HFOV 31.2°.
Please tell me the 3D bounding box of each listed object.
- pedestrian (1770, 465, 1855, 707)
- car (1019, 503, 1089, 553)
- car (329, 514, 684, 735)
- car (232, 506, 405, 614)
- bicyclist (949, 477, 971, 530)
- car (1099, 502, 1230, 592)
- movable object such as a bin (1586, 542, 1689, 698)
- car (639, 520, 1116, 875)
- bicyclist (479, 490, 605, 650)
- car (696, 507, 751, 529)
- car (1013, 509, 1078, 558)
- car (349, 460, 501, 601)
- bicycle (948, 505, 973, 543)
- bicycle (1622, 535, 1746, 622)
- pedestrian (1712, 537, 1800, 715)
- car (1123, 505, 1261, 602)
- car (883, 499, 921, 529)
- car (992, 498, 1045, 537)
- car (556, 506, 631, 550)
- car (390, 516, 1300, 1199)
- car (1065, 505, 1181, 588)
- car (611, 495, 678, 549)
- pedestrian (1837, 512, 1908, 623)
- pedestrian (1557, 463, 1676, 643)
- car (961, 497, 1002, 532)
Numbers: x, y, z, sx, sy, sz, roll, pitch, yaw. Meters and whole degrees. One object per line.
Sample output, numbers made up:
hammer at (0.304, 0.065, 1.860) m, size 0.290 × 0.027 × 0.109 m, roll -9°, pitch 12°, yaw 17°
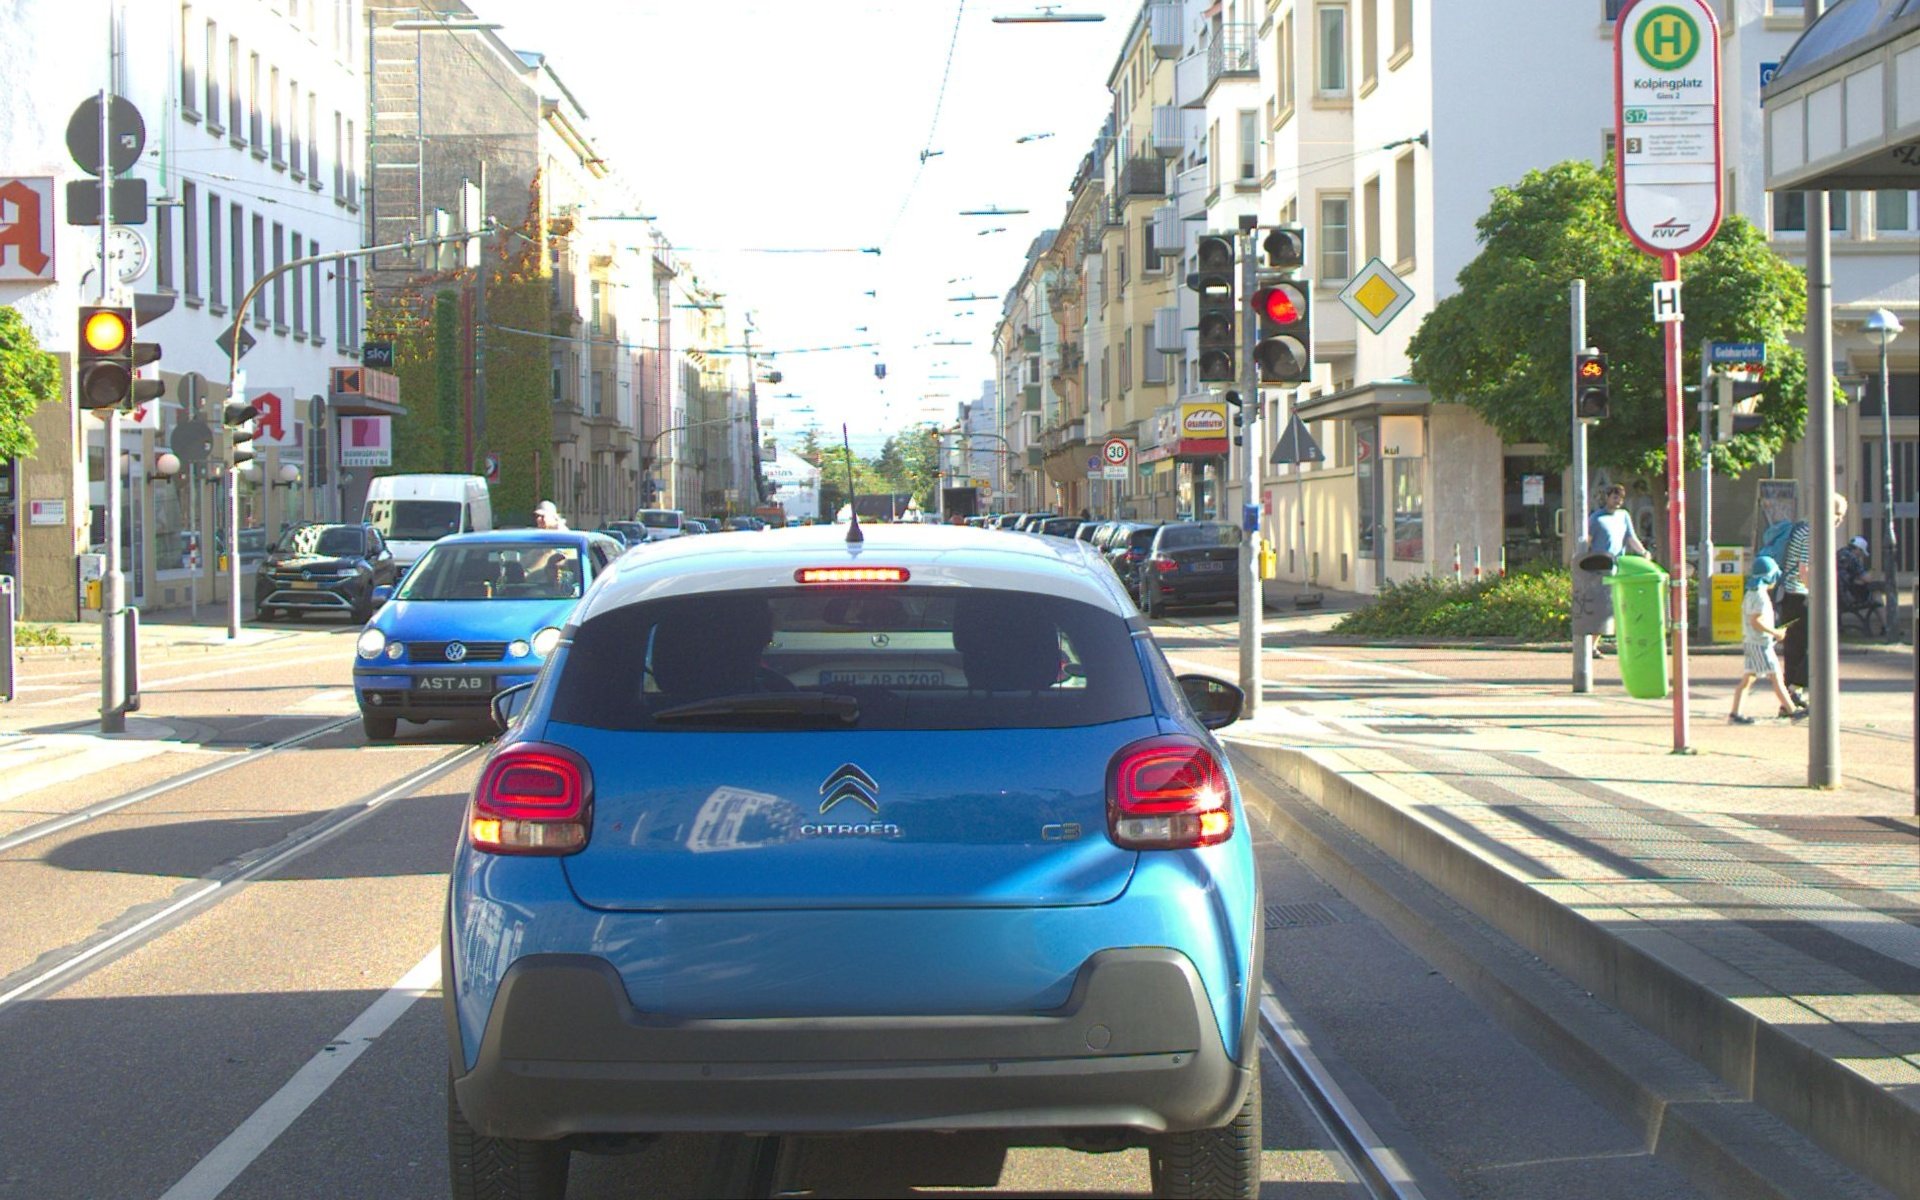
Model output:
pedestrian at (6.209, -0.105, 25.067) m, size 0.558 × 1.739 × 0.526 m, roll 0°, pitch 1°, yaw 10°
car at (2.825, -2.203, 104.298) m, size 1.993 × 1.459 × 4.505 m, roll -1°, pitch 1°, yaw 0°
car at (-3.234, 0.113, 25.262) m, size 1.667 × 1.482 × 3.999 m, roll 0°, pitch 2°, yaw 7°
car at (-10.143, -0.650, 54.657) m, size 1.993 × 1.563 × 4.403 m, roll 2°, pitch 1°, yaw -2°
bicyclist at (-0.008, -3.634, 129.533) m, size 0.809 × 2.007 × 0.922 m, roll 0°, pitch 1°, yaw -1°
car at (3.469, -0.932, 58.983) m, size 1.993 × 1.459 × 4.000 m, roll -1°, pitch 1°, yaw 0°
movable object such as a bin at (3.494, 0.097, 17.753) m, size 0.449 × 0.783 × 0.489 m, roll -1°, pitch 1°, yaw 2°
car at (-0.375, 0.350, 16.719) m, size 1.984 × 1.459 × 4.816 m, roll 0°, pitch 2°, yaw -1°
bicyclist at (-3.862, -0.284, 31.743) m, size 0.874 × 1.450 × 0.830 m, roll 0°, pitch 1°, yaw -34°
car at (-12.866, -4.463, 187.175) m, size 1.994 × 1.152 × 4.513 m, roll -1°, pitch 1°, yaw 9°
car at (2.766, -2.170, 111.974) m, size 1.993 × 1.546 × 4.000 m, roll -1°, pitch 1°, yaw 0°
car at (-10.049, -1.325, 65.006) m, size 2.085 × 2.533 × 6.206 m, roll 0°, pitch 1°, yaw -2°
bicycle at (0.023, -2.870, 129.326) m, size 0.920 × 1.384 × 3.132 m, roll -1°, pitch 2°, yaw 0°
bicycle at (9.434, -0.282, 44.834) m, size 1.568 × 1.116 × 0.300 m, roll 0°, pitch 1°, yaw 11°
pedestrian at (5.531, 0.172, 23.909) m, size 0.558 × 1.221 × 0.526 m, roll 0°, pitch 1°, yaw 10°
car at (3.651, -0.765, 54.597) m, size 1.909 × 1.459 × 4.000 m, roll -1°, pitch 1°, yaw 0°
car at (-3.484, -5.136, 204.899) m, size 1.993 × 1.772 × 4.001 m, roll -1°, pitch 2°, yaw -4°
car at (2.282, -3.247, 135.372) m, size 1.993 × 1.459 × 4.000 m, roll -1°, pitch 1°, yaw 0°
car at (-11.278, -2.213, 105.849) m, size 1.993 × 1.320 × 3.923 m, roll 0°, pitch 1°, yaw -2°
car at (-0.244, 0.540, 8.461) m, size 1.728 × 1.477 × 3.827 m, roll 0°, pitch 1°, yaw -1°
car at (3.059, -1.040, 65.152) m, size 1.993 × 1.495 × 4.000 m, roll -1°, pitch 1°, yaw 0°
car at (-11.823, -2.917, 129.178) m, size 2.006 × 2.007 × 4.689 m, roll 0°, pitch 1°, yaw 1°
pedestrian at (10.953, -0.393, 41.258) m, size 0.741 × 1.311 × 0.627 m, roll 0°, pitch 1°, yaw 23°
pedestrian at (6.942, -0.496, 36.391) m, size 0.981 × 1.871 × 1.129 m, roll -1°, pitch 0°, yaw -3°
car at (1.089, -4.378, 176.147) m, size 1.993 × 1.765 × 4.000 m, roll -1°, pitch 2°, yaw -1°
